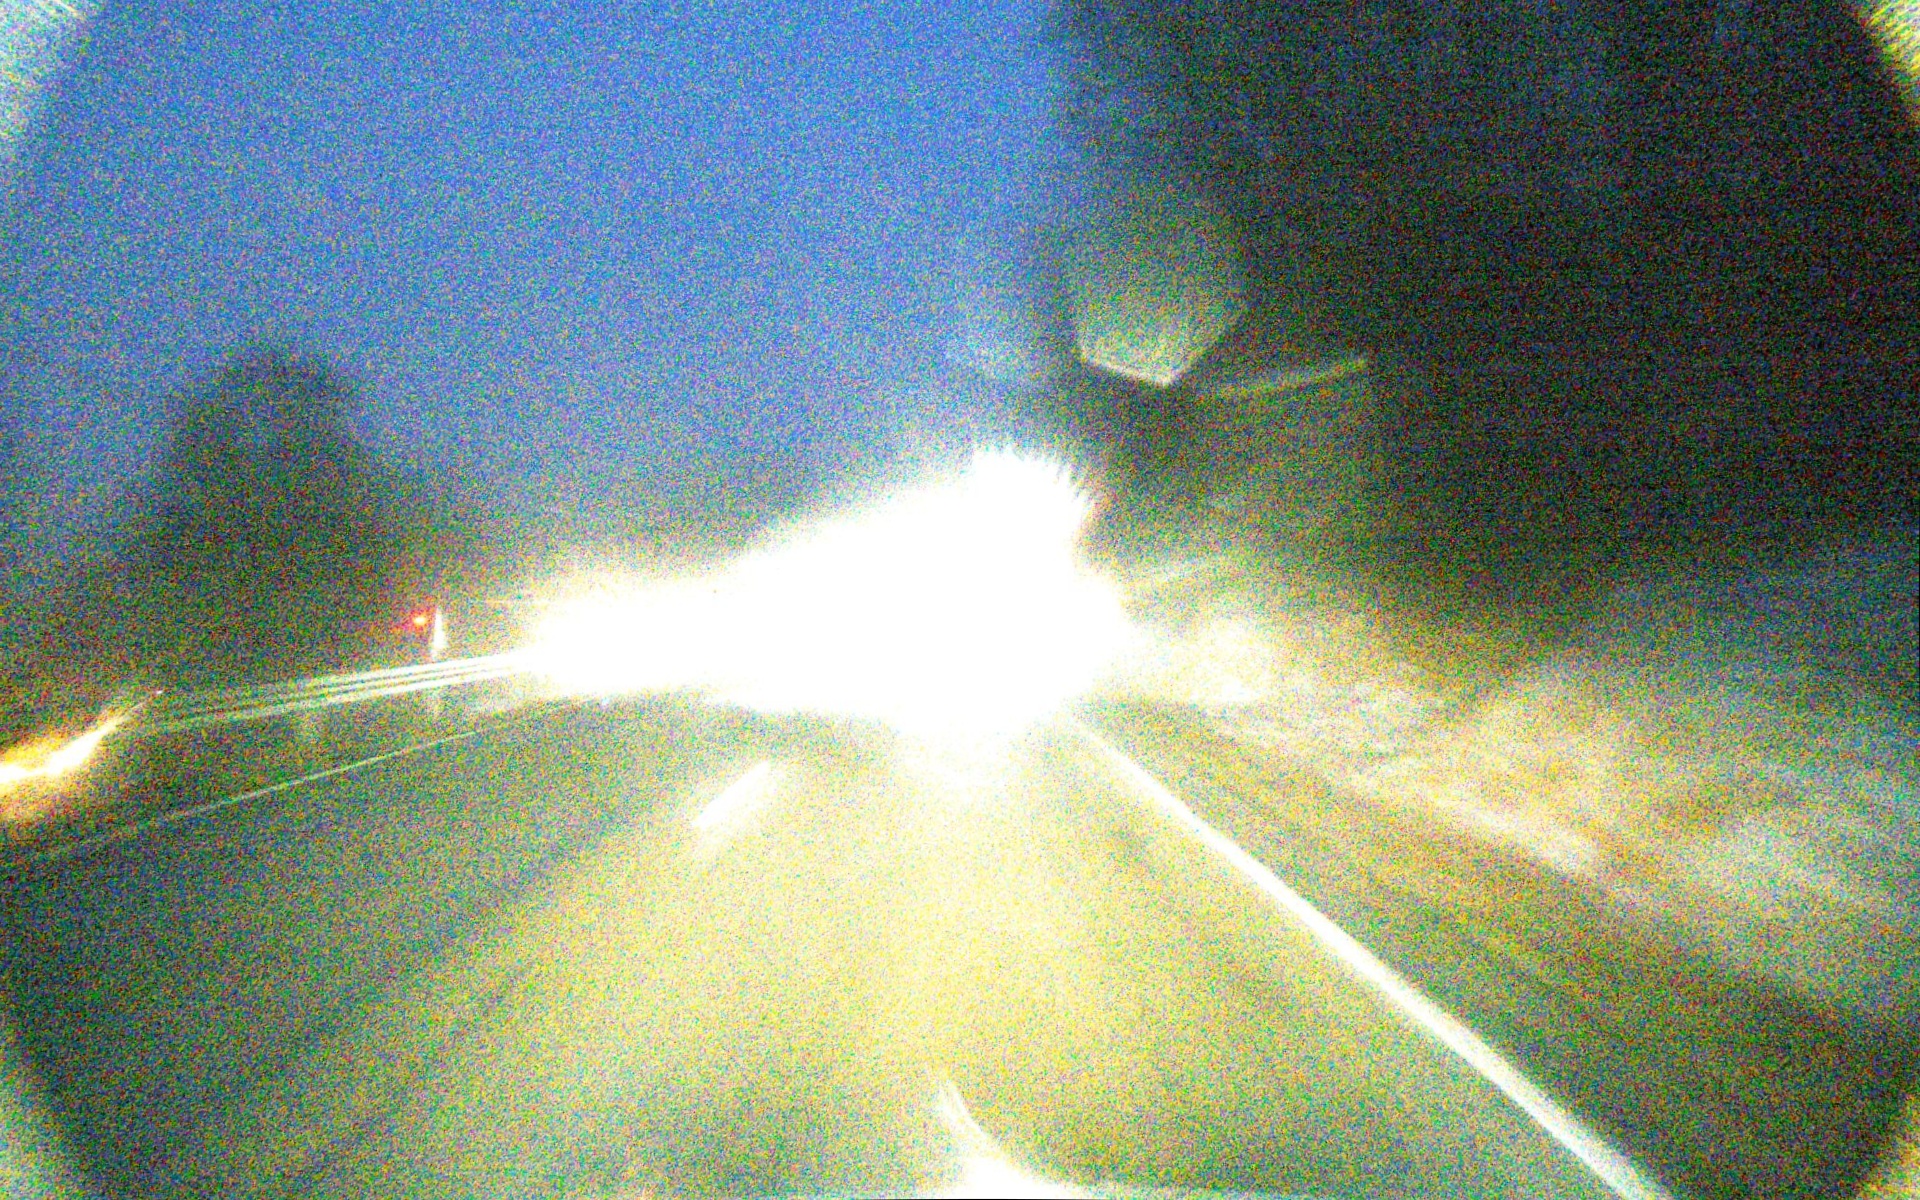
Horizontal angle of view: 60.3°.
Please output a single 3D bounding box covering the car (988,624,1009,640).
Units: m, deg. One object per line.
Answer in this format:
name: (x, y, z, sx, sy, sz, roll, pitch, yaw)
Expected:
car: (3.422, 2.808, 146.143, 1.703, 1.427, 3.862, 0, -1, 3)
